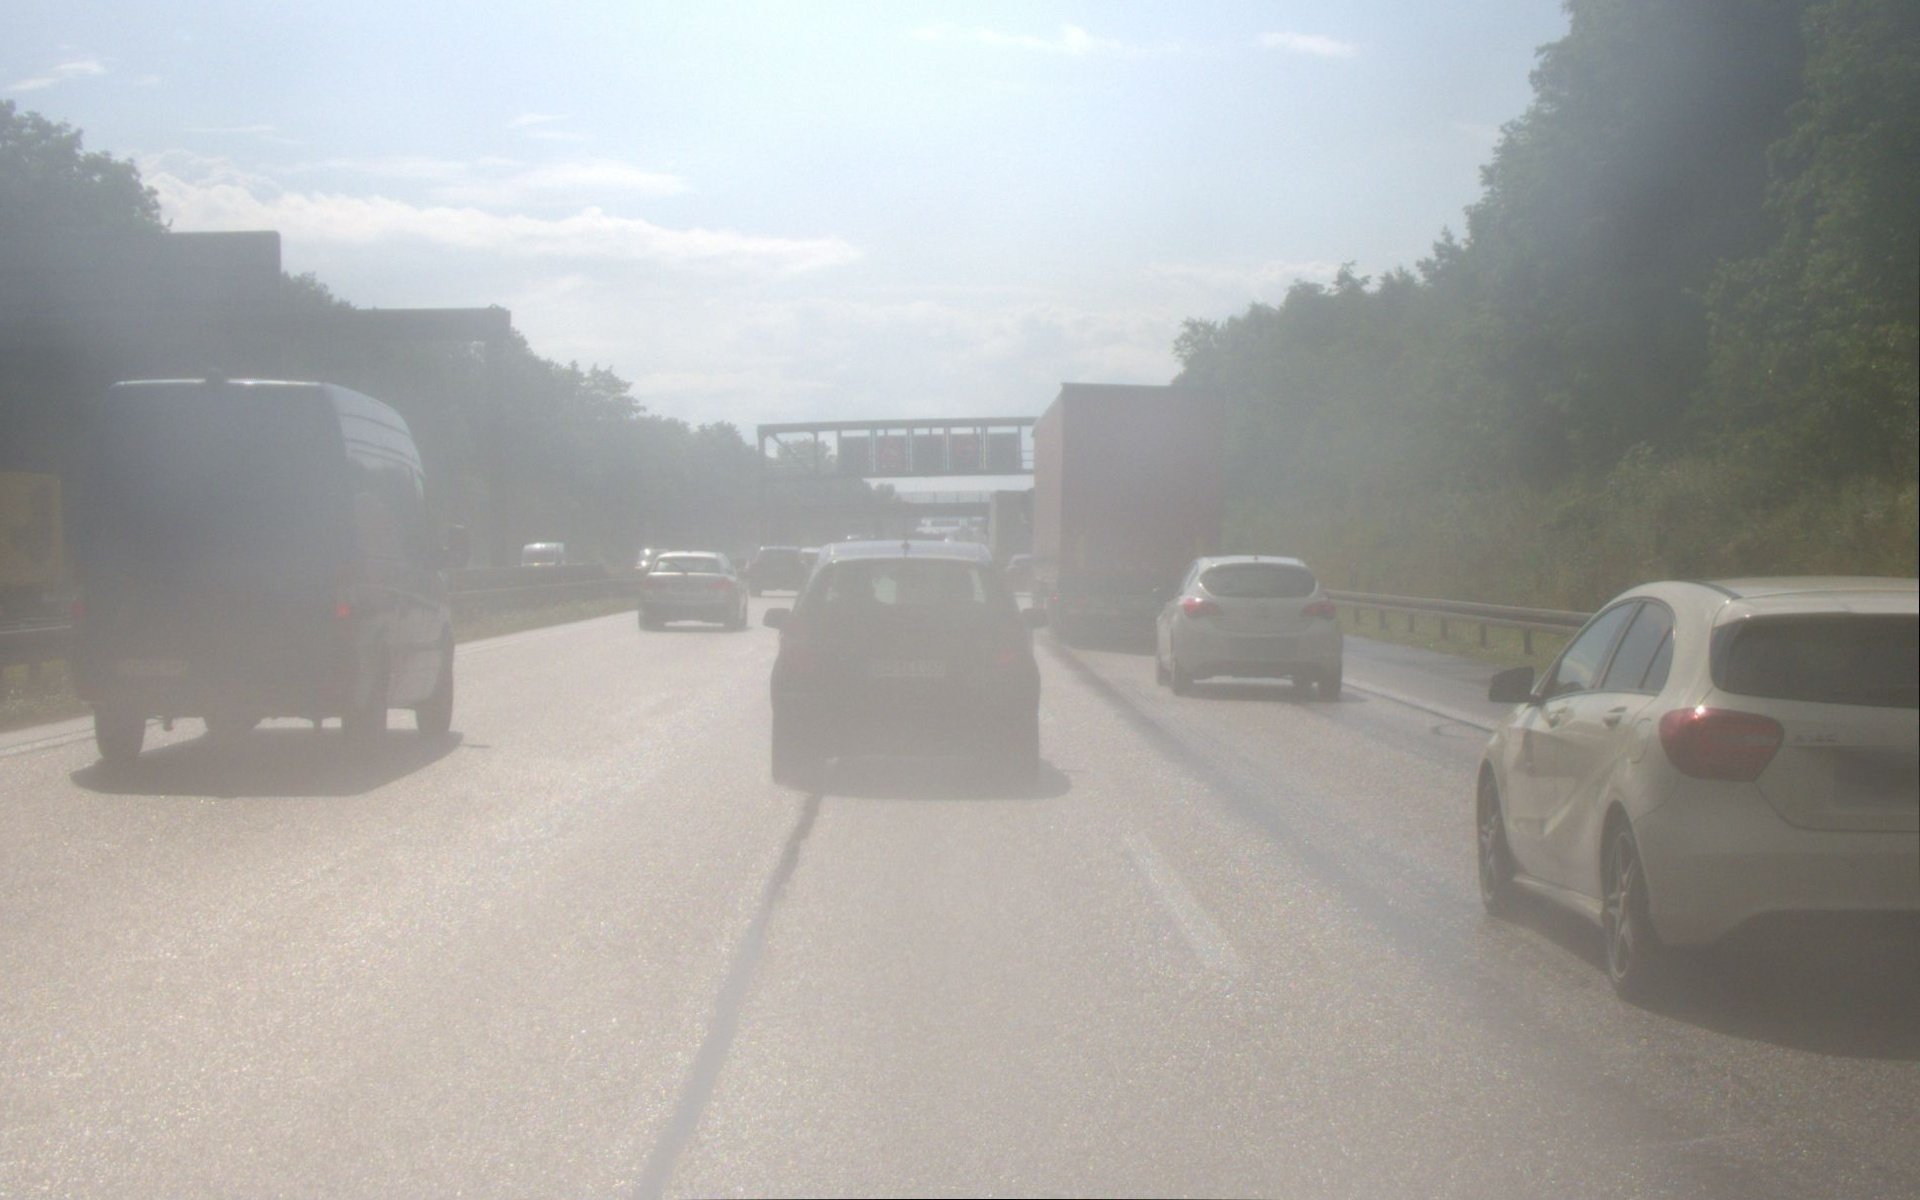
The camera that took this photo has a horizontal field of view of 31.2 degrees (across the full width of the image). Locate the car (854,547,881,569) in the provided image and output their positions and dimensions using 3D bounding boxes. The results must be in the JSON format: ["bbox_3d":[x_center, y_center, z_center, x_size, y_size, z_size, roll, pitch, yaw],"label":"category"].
[{"bbox_3d":[-5.622,-2.541,208.432,1.549,1.262,3.485,1,1,-2],"label":"car"}]

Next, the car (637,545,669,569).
[{"bbox_3d":[-18.012,-2.518,201.803,1.570,1.381,3.792,1,1,0],"label":"car"}]

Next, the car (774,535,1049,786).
[{"bbox_3d":[-0.366,0.361,23.446,1.717,1.562,3.485,1,1,-2],"label":"car"}]

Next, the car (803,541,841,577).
[{"bbox_3d":[-5.481,-1.623,137.020,1.460,1.389,3.312,1,1,-2],"label":"car"}]

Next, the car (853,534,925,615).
[{"bbox_3d":[-1.587,-0.571,76.474,1.531,1.740,3.485,1,1,-2],"label":"car"}]

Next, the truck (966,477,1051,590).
[{"bbox_3d":[1.938,-2.720,142.844,3.256,4.464,12.421,1,1,0],"label":"truck"}]

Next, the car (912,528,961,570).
[{"bbox_3d":[-0.811,-1.743,116.900,1.552,1.378,3.210,1,1,-2],"label":"car"}]

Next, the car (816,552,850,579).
[{"bbox_3d":[-6.001,-1.642,162.147,1.549,1.262,3.485,1,1,-2],"label":"car"}]

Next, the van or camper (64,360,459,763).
[{"bbox_3d":[-5.049,-0.289,25.620,1.993,2.659,5.385,1,1,-2],"label":"van or camper"}]

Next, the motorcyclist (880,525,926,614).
[{"bbox_3d":[-1.063,-0.569,63.786,0.801,1.627,1.013,1,1,-2],"label":"motorcyclist"}]

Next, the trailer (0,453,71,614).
[{"bbox_3d":[-23.017,-1.497,75.777,2.722,3.632,16.678,1,1,-1],"label":"trailer"}]

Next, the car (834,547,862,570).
[{"bbox_3d":[-6.325,-2.365,194.249,1.549,1.262,3.485,1,1,-2],"label":"car"}]

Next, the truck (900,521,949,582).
[{"bbox_3d":[-1.738,-2.322,164.946,2.192,2.865,4.850,1,1,-2],"label":"truck"}]

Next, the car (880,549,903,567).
[{"bbox_3d":[-4.837,-2.994,243.724,1.549,1.262,3.485,1,1,-2],"label":"car"}]

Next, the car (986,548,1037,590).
[{"bbox_3d":[1.745,-1.048,116.534,1.552,1.378,3.210,1,1,-2],"label":"car"}]

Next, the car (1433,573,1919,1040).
[{"bbox_3d":[2.978,0.632,12.815,1.692,1.420,4.220,1,1,-2],"label":"car"}]

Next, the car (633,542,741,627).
[{"bbox_3d":[-5.114,-0.306,64.826,1.854,1.546,3.485,1,1,-2],"label":"car"}]

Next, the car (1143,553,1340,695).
[{"bbox_3d":[3.010,0.221,37.422,1.680,1.437,3.905,1,1,-2],"label":"car"}]

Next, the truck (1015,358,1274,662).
[{"bbox_3d":[3.014,-1.522,62.127,3.650,4.704,16.779,1,1,0],"label":"truck"}]

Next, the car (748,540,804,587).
[{"bbox_3d":[-5.942,-1.190,111.255,1.751,1.452,3.390,1,1,-2],"label":"car"}]
